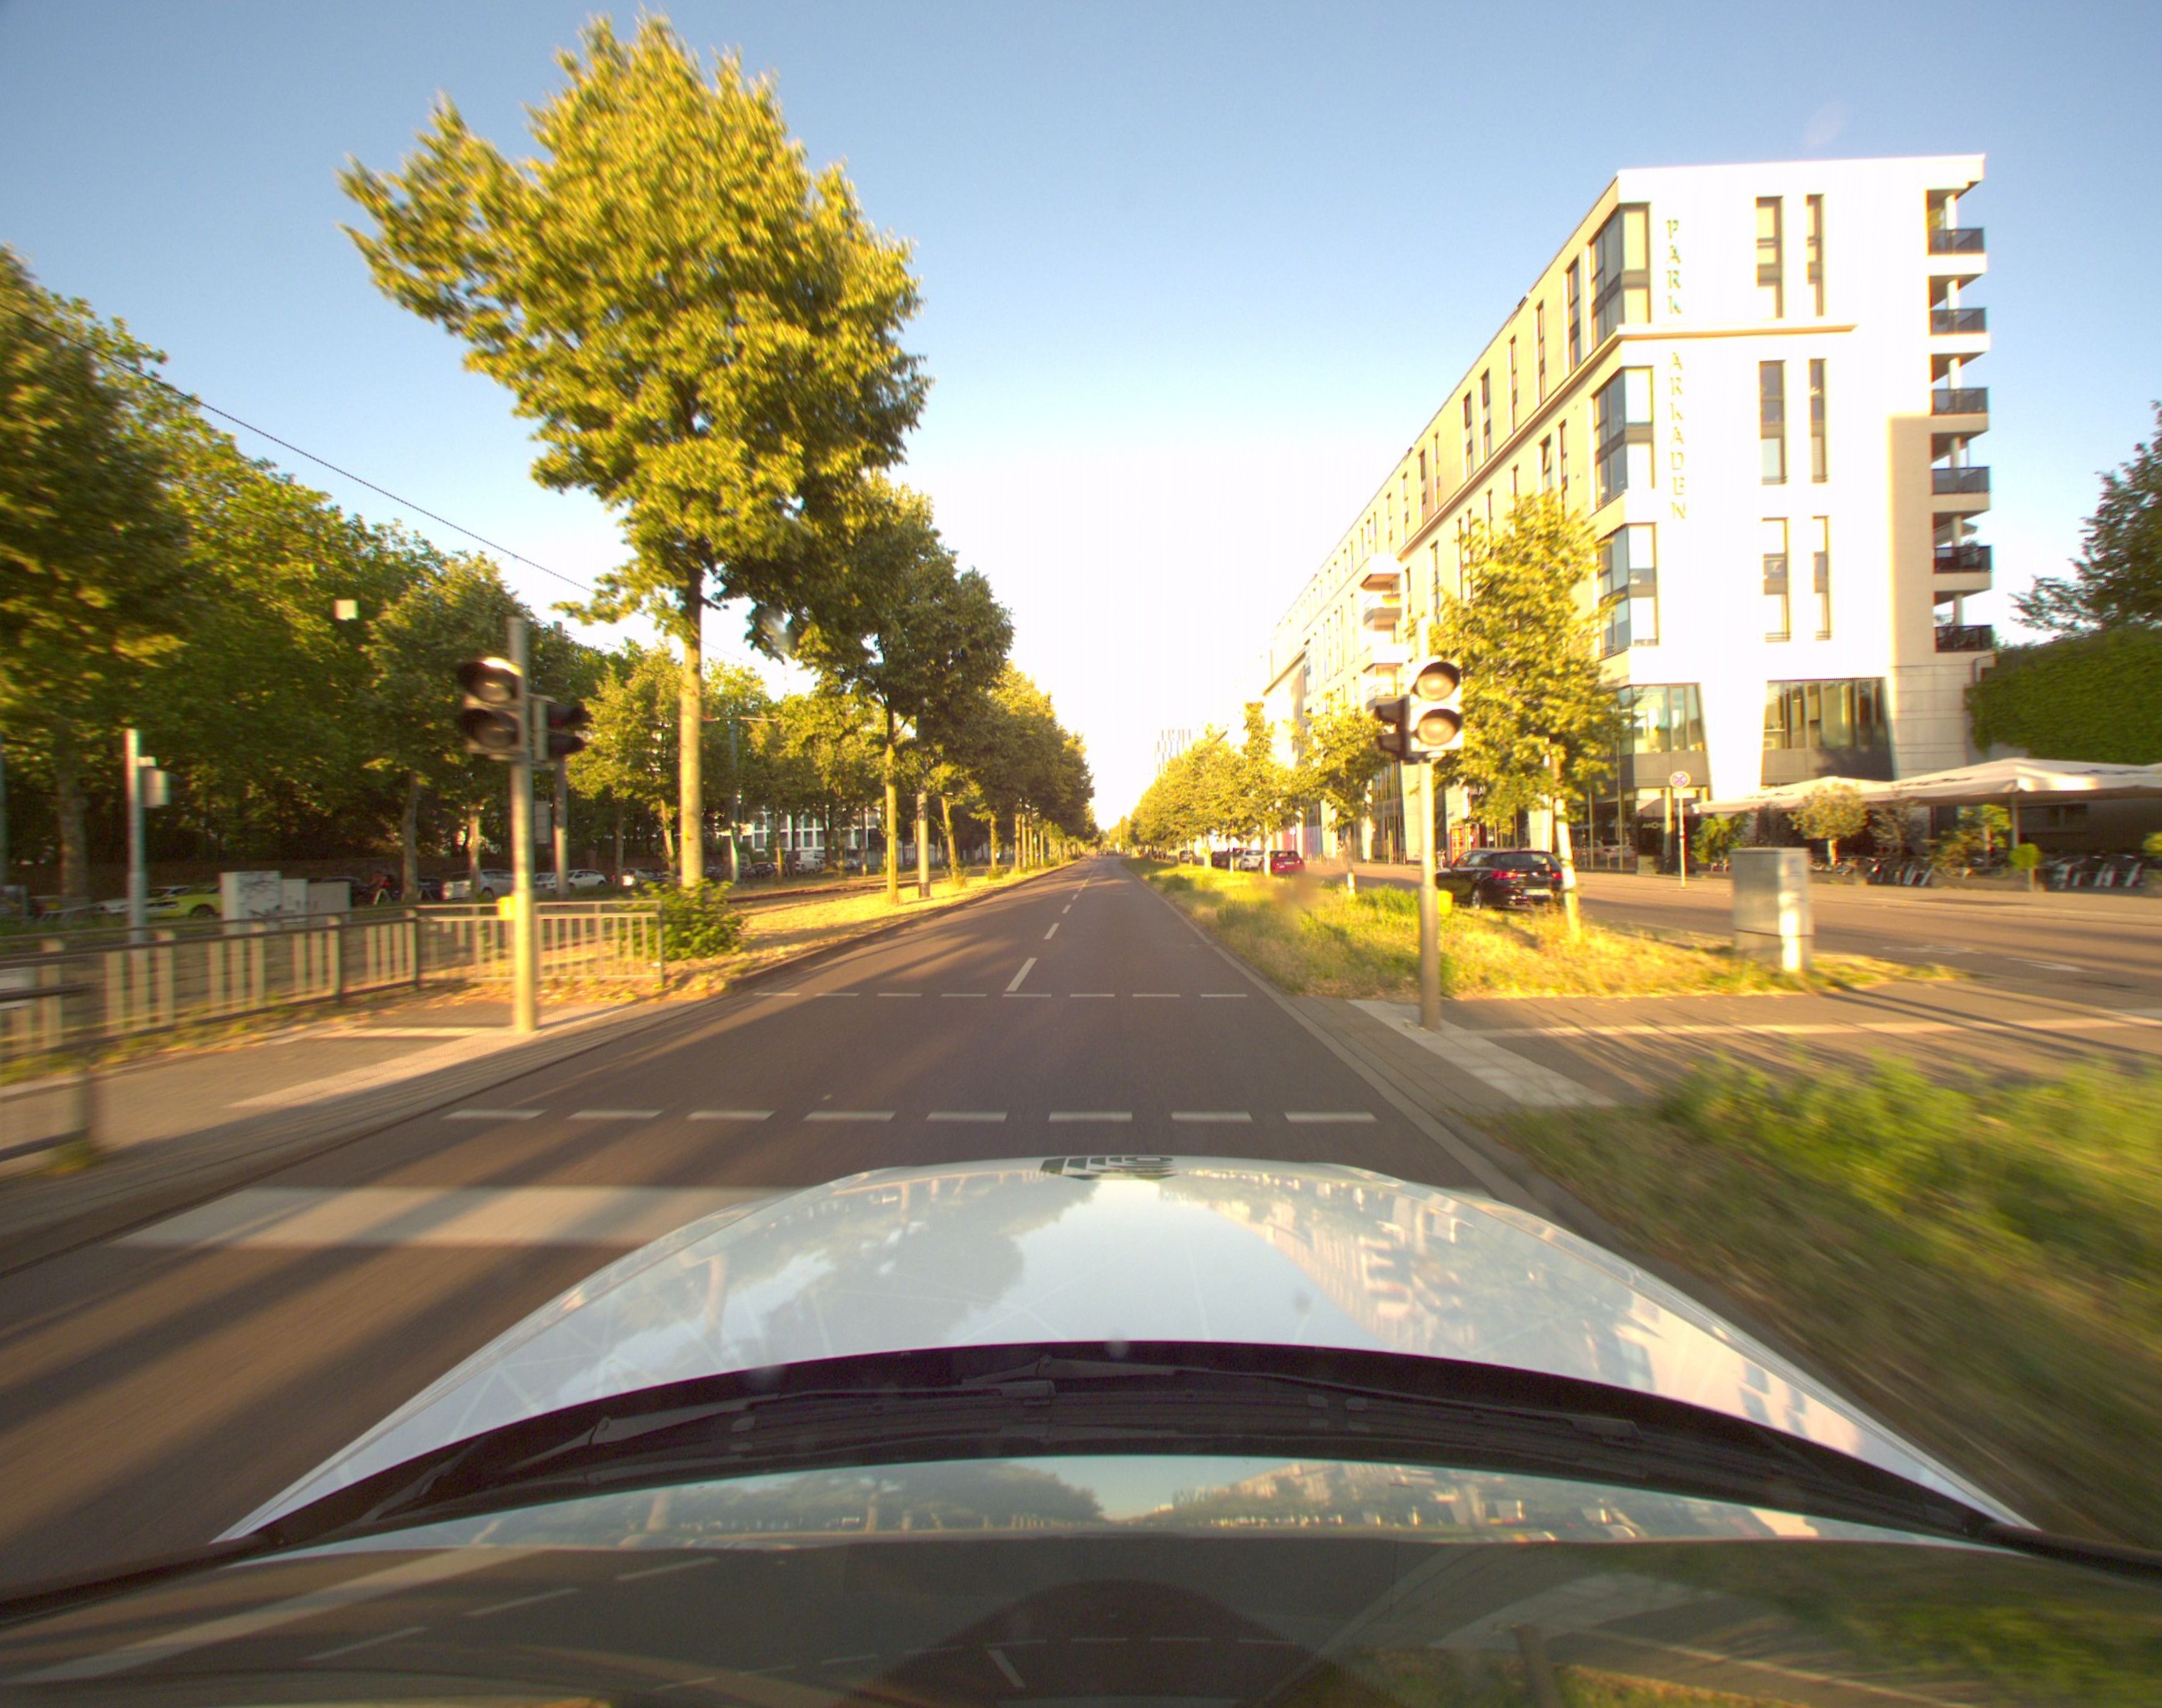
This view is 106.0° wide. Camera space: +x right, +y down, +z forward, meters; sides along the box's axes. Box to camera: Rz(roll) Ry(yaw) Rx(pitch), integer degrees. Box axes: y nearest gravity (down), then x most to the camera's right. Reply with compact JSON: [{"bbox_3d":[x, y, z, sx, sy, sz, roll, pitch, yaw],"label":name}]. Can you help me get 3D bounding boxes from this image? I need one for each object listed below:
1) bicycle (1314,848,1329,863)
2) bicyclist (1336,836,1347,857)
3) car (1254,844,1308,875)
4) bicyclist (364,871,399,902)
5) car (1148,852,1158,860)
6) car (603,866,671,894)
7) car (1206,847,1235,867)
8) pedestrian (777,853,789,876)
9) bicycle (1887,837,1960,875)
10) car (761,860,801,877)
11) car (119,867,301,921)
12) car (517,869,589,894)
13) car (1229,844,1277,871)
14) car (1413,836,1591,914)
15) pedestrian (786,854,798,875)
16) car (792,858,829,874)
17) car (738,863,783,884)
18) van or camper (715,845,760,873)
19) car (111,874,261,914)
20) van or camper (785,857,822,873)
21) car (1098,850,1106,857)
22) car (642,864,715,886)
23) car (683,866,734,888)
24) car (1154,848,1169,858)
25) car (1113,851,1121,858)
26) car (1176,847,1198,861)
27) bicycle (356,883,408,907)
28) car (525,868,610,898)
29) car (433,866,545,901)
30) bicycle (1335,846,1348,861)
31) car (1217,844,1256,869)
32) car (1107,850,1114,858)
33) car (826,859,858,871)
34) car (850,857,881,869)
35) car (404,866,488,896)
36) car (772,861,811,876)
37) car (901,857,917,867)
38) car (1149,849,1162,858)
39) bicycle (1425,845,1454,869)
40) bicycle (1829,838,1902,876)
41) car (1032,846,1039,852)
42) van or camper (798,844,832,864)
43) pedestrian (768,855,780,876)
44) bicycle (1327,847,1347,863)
[{"bbox_3d":[17.986,0.107,61.043,0.532,1.059,1.610,-2,0,-4],"label":"bicycle"},{"bbox_3d":[19.447,-0.581,60.862,0.542,1.568,1.021,-1,0,5],"label":"bicyclist"},{"bbox_3d":[10.221,0.260,41.882,1.802,1.501,3.960,-1,0,1],"label":"car"},{"bbox_3d":[-35.675,1.657,41.548,0.724,1.533,1.088,-2,0,7],"label":"bicyclist"},{"bbox_3d":[14.118,0.468,160.569,1.718,1.529,4.270,0,0,1],"label":"car"},{"bbox_3d":[-30.291,1.764,55.734,1.983,1.750,4.168,-2,0,7],"label":"car"},{"bbox_3d":[11.012,0.189,64.413,1.717,1.501,4.235,0,0,2],"label":"car"},{"bbox_3d":[-25.096,0.904,68.668,0.692,1.870,0.864,-2,0,-6],"label":"pedestrian"},{"bbox_3d":[25.922,0.049,25.063,1.790,1.107,0.500,-2,0,-3],"label":"bicycle"},{"bbox_3d":[-28.640,1.380,77.901,1.984,1.486,4.005,-2,0,5],"label":"car"},{"bbox_3d":[-30.419,1.327,28.655,1.986,1.640,4.002,-2,0,2],"label":"car"},{"bbox_3d":[-36.622,1.885,56.571,1.982,1.486,4.010,-2,0,9],"label":"car"},{"bbox_3d":[10.357,0.201,49.447,1.914,1.501,5.011,-1,0,1],"label":"car"},{"bbox_3d":[9.232,0.407,18.324,1.802,1.501,4.369,-1,0,1],"label":"car"},{"bbox_3d":[-24.263,0.845,68.379,0.691,1.743,0.866,-2,0,-1],"label":"pedestrian"},{"bbox_3d":[-35.005,1.564,105.345,3.971,1.844,2.013,-1,0,2],"label":"car"},{"bbox_3d":[-28.634,1.697,72.916,1.986,1.750,4.792,-2,0,1],"label":"car"},{"bbox_3d":[-34.531,0.491,81.986,2.078,2.735,5.494,-2,0,0],"label":"van or camper"},{"bbox_3d":[-38.952,1.703,35.609,1.852,1.492,4.055,-2,0,5],"label":"car"},{"bbox_3d":[-34.739,1.341,102.122,3.985,1.791,1.994,-2,0,-9],"label":"van or camper"},{"bbox_3d":[6.144,-0.121,237.321,2.080,2.013,4.001,-1,0,1],"label":"car"},{"bbox_3d":[-27.624,1.394,56.105,1.984,1.315,5.150,-2,0,6],"label":"car"},{"bbox_3d":[-29.084,1.801,63.653,1.793,1.560,3.845,-2,0,7],"label":"car"},{"bbox_3d":[13.285,-0.161,134.546,1.937,1.549,4.811,-2,0,0],"label":"car"},{"bbox_3d":[9.924,0.143,225.360,1.986,2.013,4.001,-1,0,1],"label":"car"},{"bbox_3d":[11.757,0.004,90.595,1.802,1.501,4.826,-1,0,1],"label":"car"},{"bbox_3d":[-35.660,2.088,41.603,0.727,1.091,2.020,-2,0,7],"label":"bicycle"},{"bbox_3d":[-28.824,1.599,45.871,1.892,1.499,4.309,-2,0,2],"label":"car"},{"bbox_3d":[-29.039,1.429,40.158,1.985,1.499,4.560,-2,0,2],"label":"car"},{"bbox_3d":[19.457,-0.023,60.872,0.540,1.118,1.915,-1,0,5],"label":"bicycle"},{"bbox_3d":[10.820,0.149,57.031,1.946,1.623,4.822,1,0,1],"label":"car"},{"bbox_3d":[8.753,-0.012,242.319,1.986,2.013,4.002,-2,0,2],"label":"car"},{"bbox_3d":[-33.896,1.532,115.614,3.976,1.640,1.921,-1,0,-2],"label":"car"},{"bbox_3d":[-31.196,1.256,118.188,3.976,1.640,1.921,-1,0,-2],"label":"car"},{"bbox_3d":[-37.715,1.560,48.497,1.757,1.596,3.844,-2,0,5],"label":"car"},{"bbox_3d":[-35.191,1.761,99.117,3.976,1.640,1.921,-1,0,-2],"label":"car"},{"bbox_3d":[-30.884,1.436,146.294,1.852,1.581,3.494,-1,0,3],"label":"car"},{"bbox_3d":[12.940,-0.098,141.616,1.848,1.529,4.484,0,0,1],"label":"car"},{"bbox_3d":[17.298,0.130,39.320,0.544,1.128,1.868,-3,0,0],"label":"bicycle"},{"bbox_3d":[23.922,0.096,24.836,1.790,1.107,0.500,-2,0,-3],"label":"bicycle"},{"bbox_3d":[-13.294,-1.456,238.219,1.878,1.578,4.183,-2,0,1],"label":"car"},{"bbox_3d":[-41.930,0.020,128.628,2.697,3.085,6.272,-1,0,5],"label":"van or camper"},{"bbox_3d":[-25.771,0.981,68.407,0.692,1.759,0.864,-2,0,-6],"label":"pedestrian"},{"bbox_3d":[17.433,0.049,55.515,0.618,1.033,2.261,-2,0,1],"label":"bicycle"}]
